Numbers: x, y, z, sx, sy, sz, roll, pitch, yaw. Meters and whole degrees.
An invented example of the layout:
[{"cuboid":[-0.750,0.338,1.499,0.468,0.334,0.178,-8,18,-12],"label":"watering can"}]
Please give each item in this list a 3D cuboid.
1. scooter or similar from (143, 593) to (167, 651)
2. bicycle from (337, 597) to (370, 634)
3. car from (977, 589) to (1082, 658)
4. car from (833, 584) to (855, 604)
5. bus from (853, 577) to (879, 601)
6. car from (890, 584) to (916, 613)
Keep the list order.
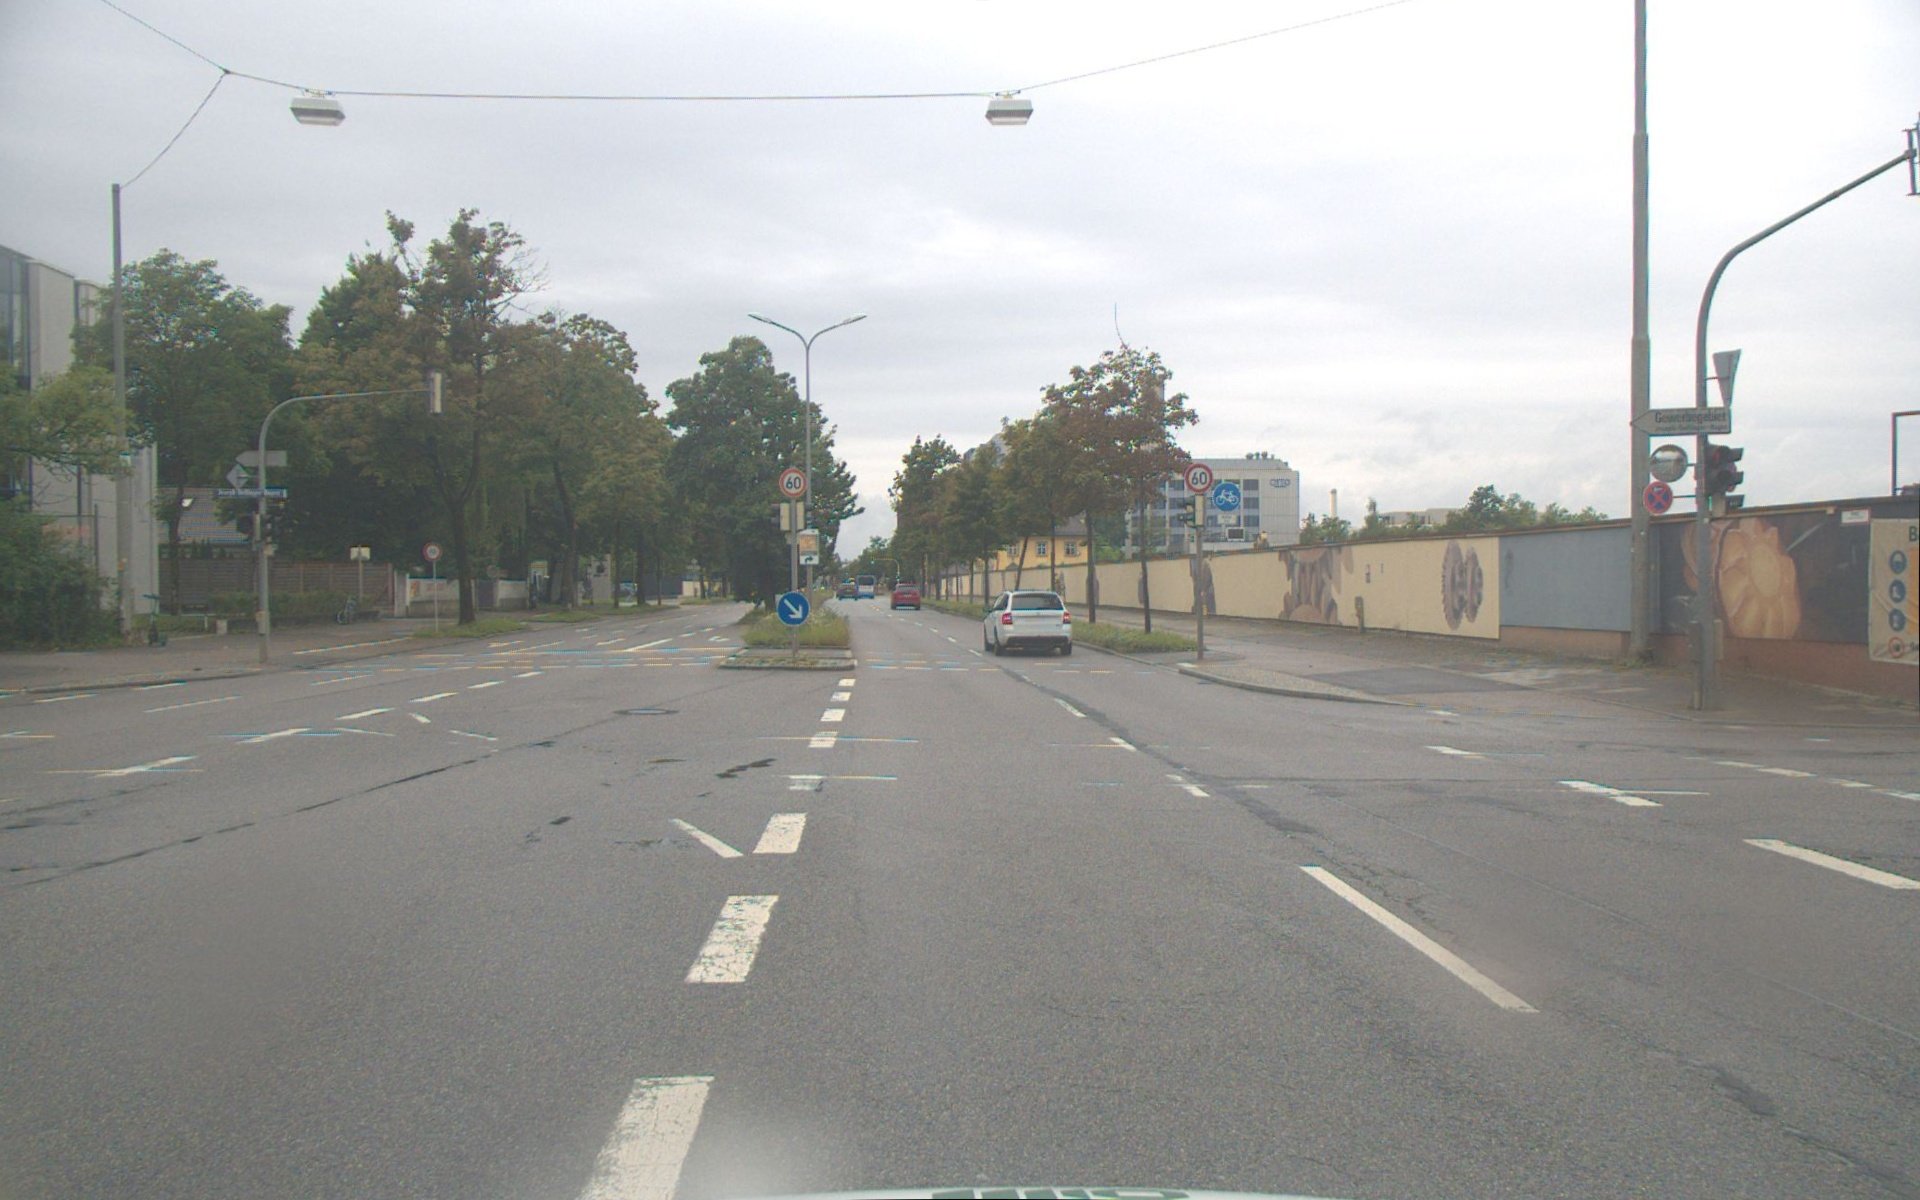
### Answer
[{"cuboid":[-20.582,0.555,42.309,0.364,1.449,1.397,1,0,-19],"label":"scooter or similar"},{"cuboid":[-22.553,0.574,61.503,0.571,1.318,2.451,1,0,-7],"label":"bicycle"},{"cuboid":[1.549,0.500,38.505,1.841,1.493,4.497,1,0,-5],"label":"car"},{"cuboid":[-11.526,-0.612,164.536,2.044,1.898,4.381,1,0,-6],"label":"car"},{"cuboid":[-13.138,-1.555,231.226,3.158,3.181,10.333,1,0,-6],"label":"bus"},{"cuboid":[-3.638,-0.108,104.913,1.455,1.745,3.547,1,0,-6],"label":"car"}]
